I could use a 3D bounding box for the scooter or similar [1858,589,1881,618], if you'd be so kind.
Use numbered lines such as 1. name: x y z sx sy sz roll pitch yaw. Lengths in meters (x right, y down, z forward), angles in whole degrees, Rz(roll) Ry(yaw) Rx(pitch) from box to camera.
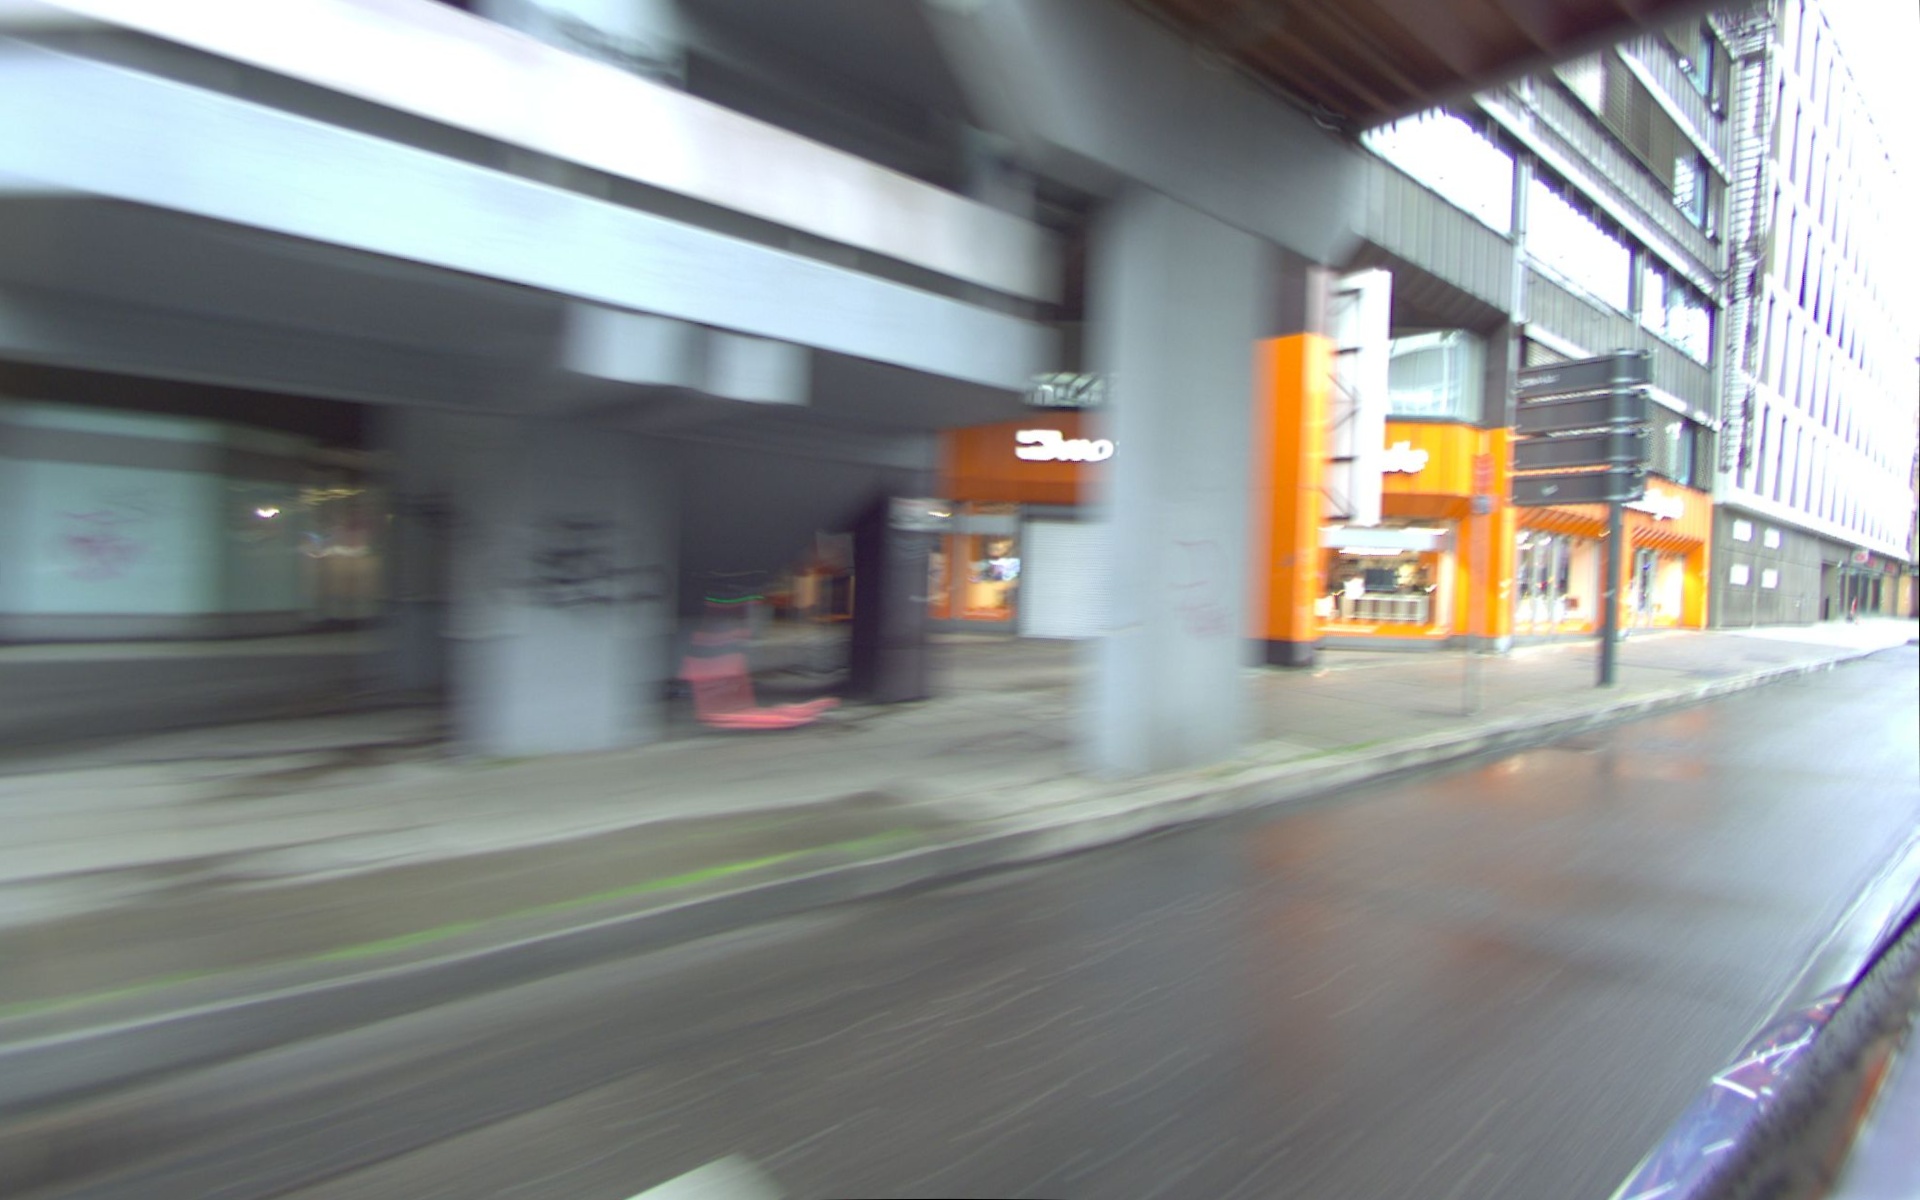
1. scooter or similar: 39.798 0.163 44.275 1.166 1.251 0.413 0 1 -32

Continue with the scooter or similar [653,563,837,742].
1. scooter or similar: -1.624 0.368 7.775 1.370 1.271 0.350 0 1 -41
